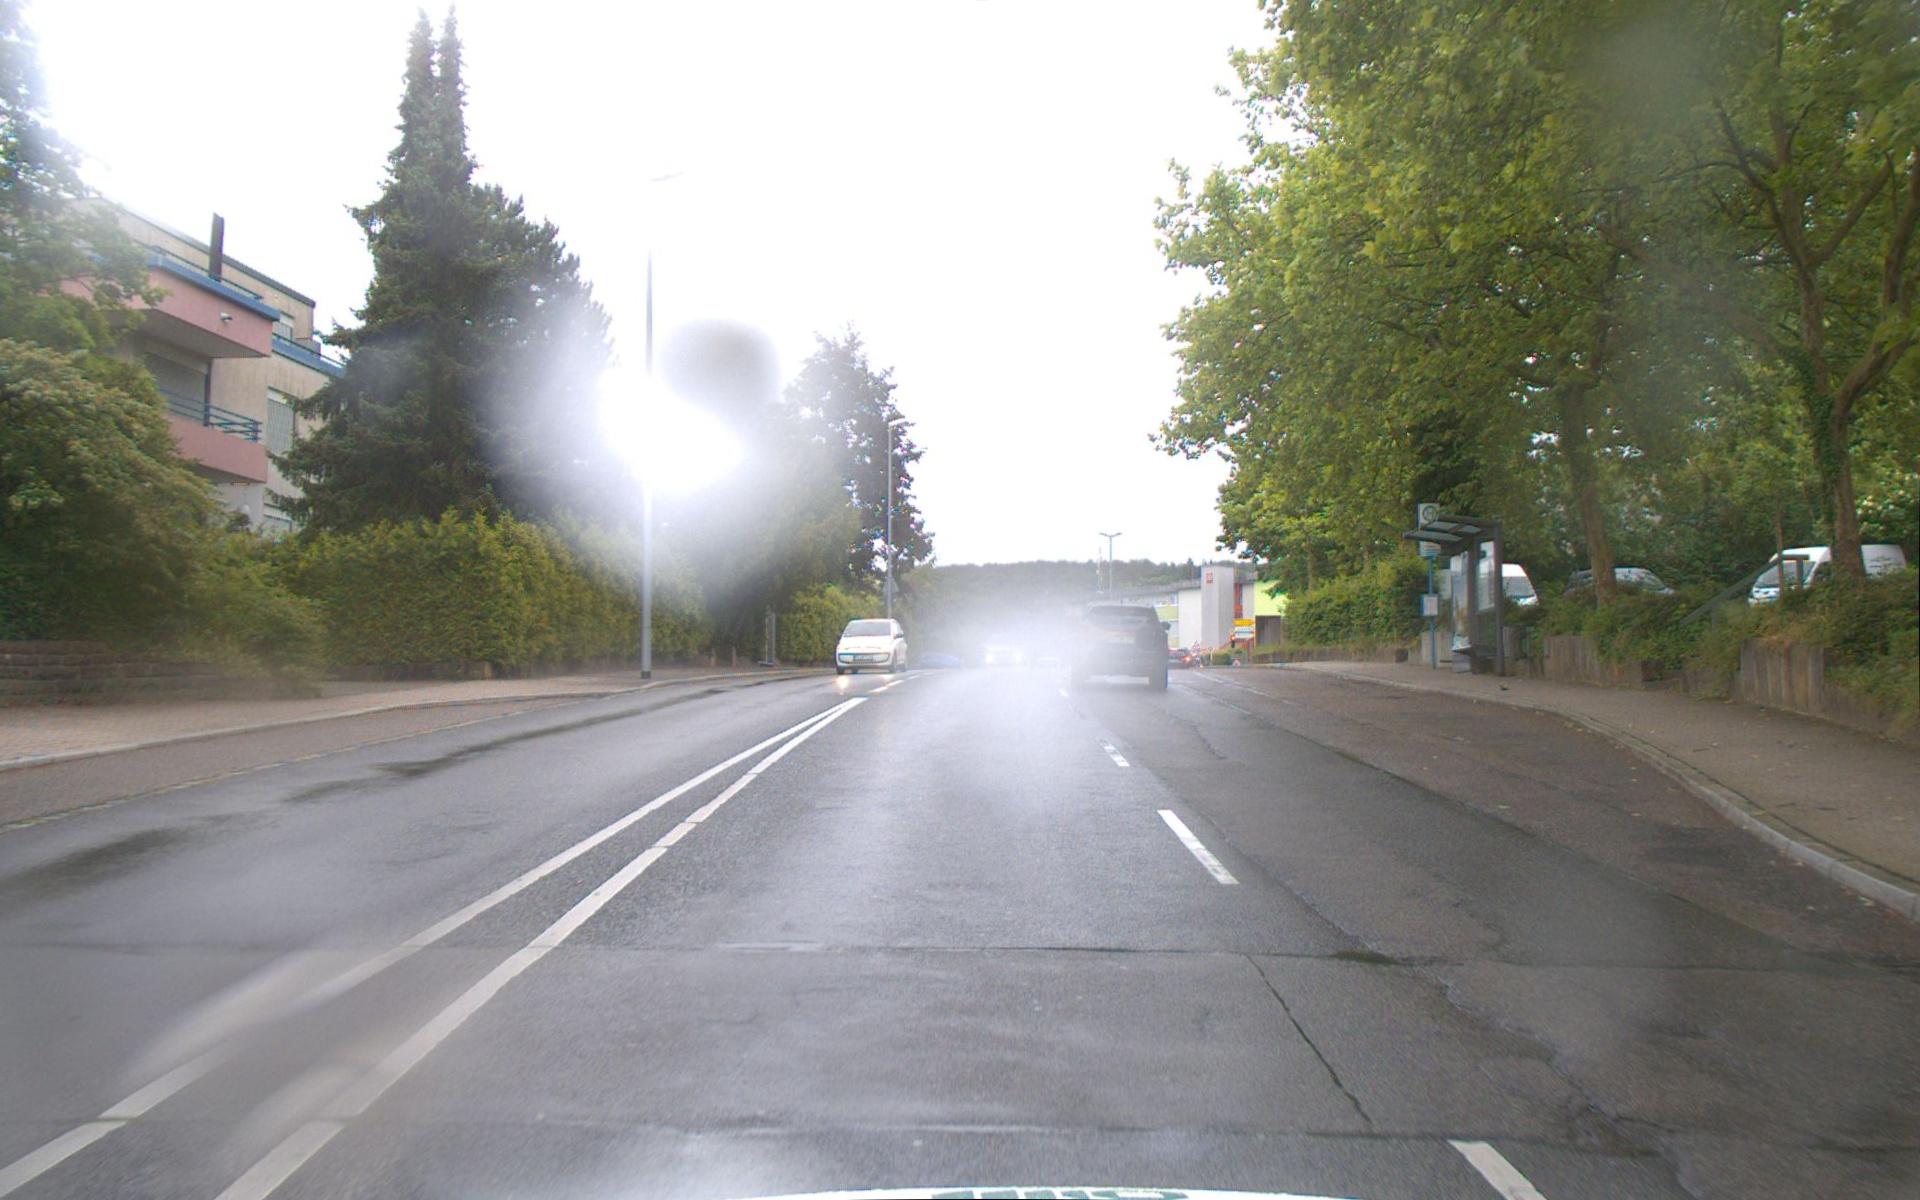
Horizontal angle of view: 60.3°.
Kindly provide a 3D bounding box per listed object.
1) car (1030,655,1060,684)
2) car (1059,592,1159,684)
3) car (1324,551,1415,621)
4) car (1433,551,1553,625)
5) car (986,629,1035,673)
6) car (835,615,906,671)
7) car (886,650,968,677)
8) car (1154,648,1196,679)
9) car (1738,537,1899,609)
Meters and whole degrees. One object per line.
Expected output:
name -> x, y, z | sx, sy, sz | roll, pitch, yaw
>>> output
car -> 5.457, 4.447, 105.796 | 1.665, 1.738, 3.980 | 3, -3, 5
car -> 2.813, 0.673, 31.889 | 1.752, 1.631, 4.255 | 1, 0, 3
car -> 13.817, -0.470, 56.018 | 1.953, 2.265, 4.132 | 1, 0, -2
car -> 17.749, -0.409, 55.349 | 2.004, 2.324, 5.013 | 1, 0, -5
car -> 2.432, 2.394, 78.327 | 1.824, 1.950, 5.032 | -2, -2, 6
car -> -2.422, 1.149, 45.332 | 1.650, 1.479, 3.398 | 0, -1, 2
car -> -1.800, 3.506, 91.600 | 4.388, 1.386, 1.806 | 1, -2, 4
car -> 10.919, 3.218, 84.193 | 1.951, 1.467, 4.002 | 1, -1, 5
car -> 27.032, -0.820, 52.041 | 5.130, 2.049, 1.980 | 2, 0, -29
